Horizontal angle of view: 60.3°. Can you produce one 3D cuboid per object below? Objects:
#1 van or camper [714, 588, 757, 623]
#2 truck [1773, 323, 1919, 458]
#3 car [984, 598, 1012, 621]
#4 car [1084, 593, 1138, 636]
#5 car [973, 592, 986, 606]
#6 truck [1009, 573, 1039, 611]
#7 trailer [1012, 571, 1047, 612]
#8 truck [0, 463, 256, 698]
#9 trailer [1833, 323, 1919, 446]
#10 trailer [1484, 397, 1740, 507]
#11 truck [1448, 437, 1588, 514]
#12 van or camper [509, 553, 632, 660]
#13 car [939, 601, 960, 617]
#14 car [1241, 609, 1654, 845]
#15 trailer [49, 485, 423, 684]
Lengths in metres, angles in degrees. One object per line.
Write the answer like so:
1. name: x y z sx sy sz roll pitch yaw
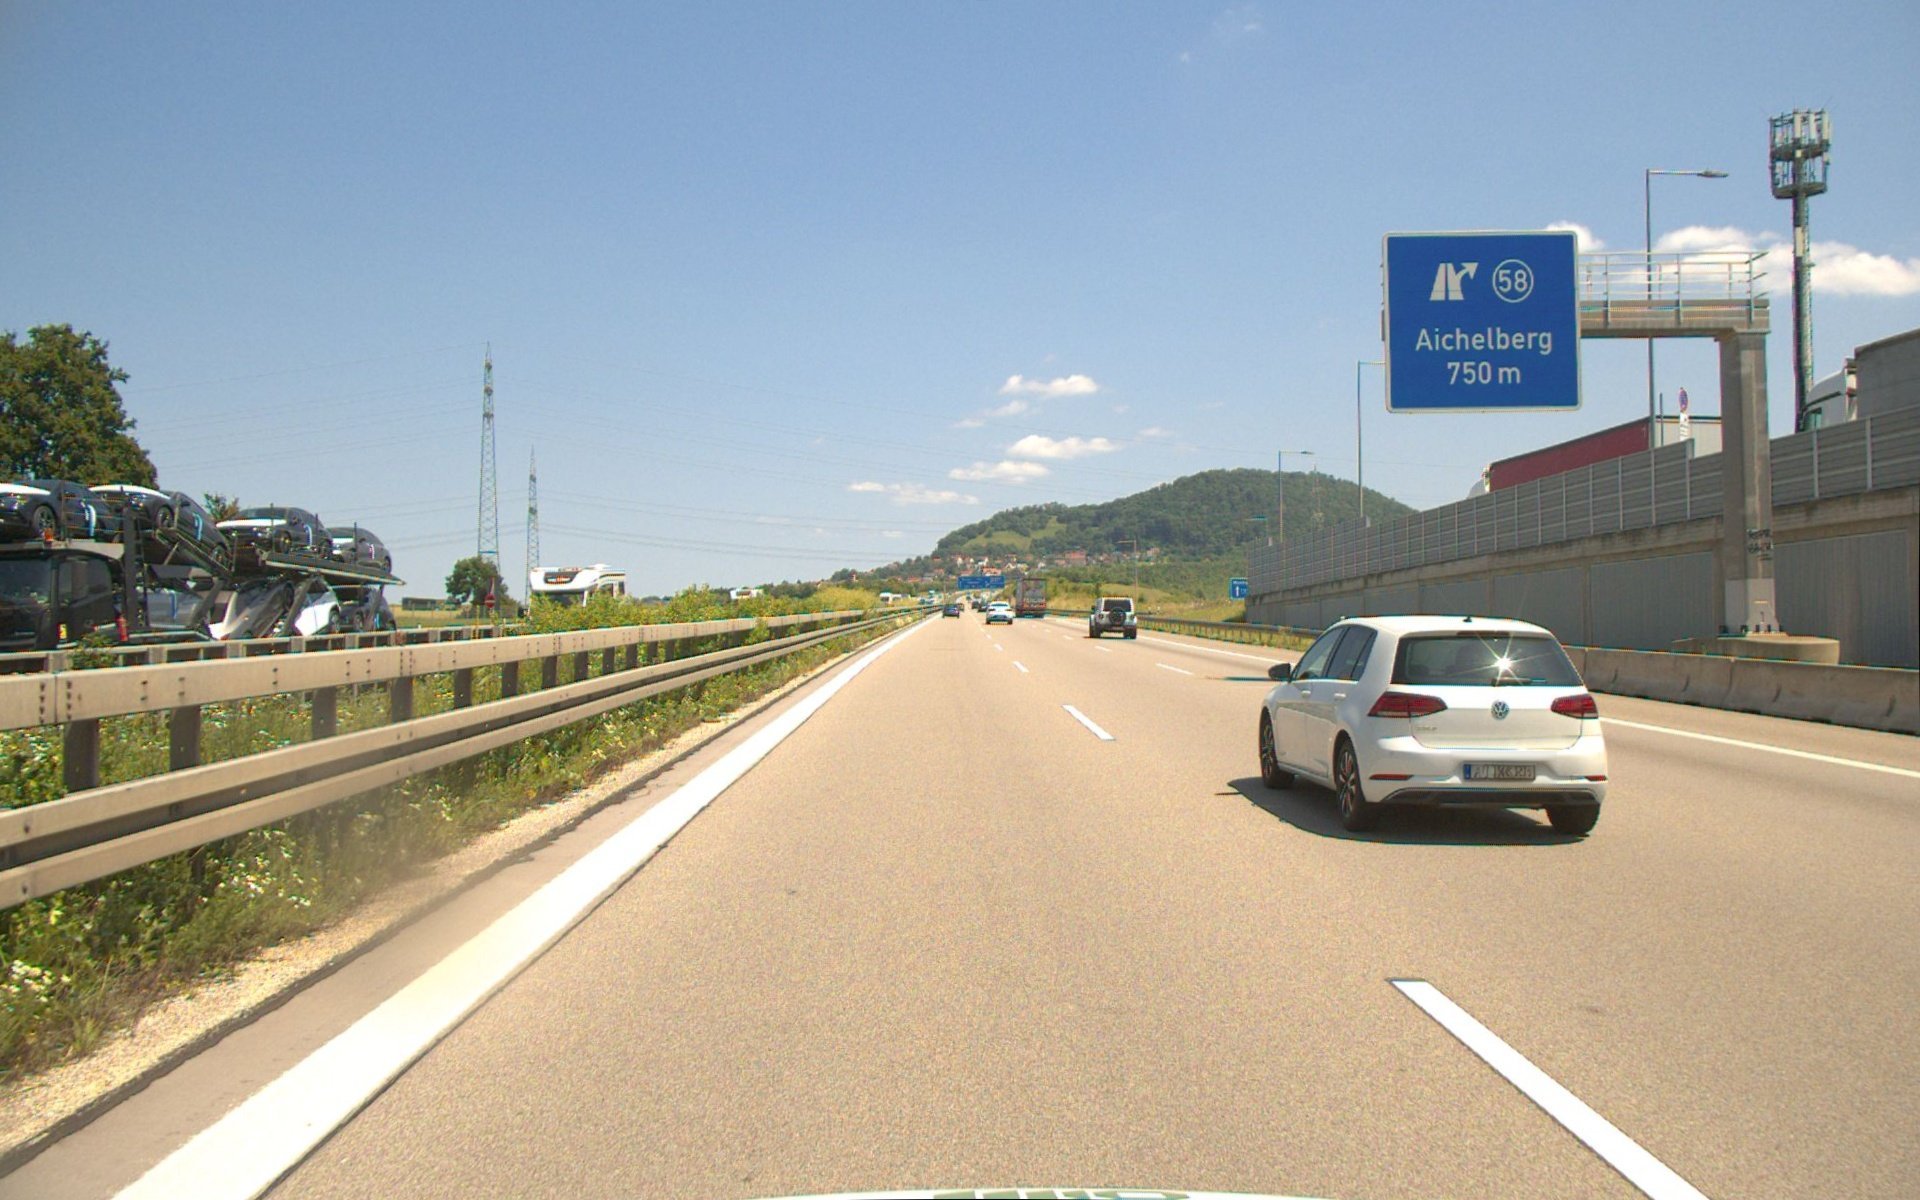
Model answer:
1. van or camper: -17.433 0.484 128.725 2.484 2.580 6.707 0 -1 -1
2. truck: 21.935 -4.782 38.721 2.668 2.269 6.034 1 -1 -2
3. car: 2.731 0.681 119.642 1.875 1.608 5.230 1 -1 0
4. car: 6.942 0.636 76.319 1.993 1.836 4.250 -1 0 -1
5. car: 2.974 -0.099 256.520 1.952 2.049 4.000 1 -1 1
6. truck: 7.094 -0.808 183.887 2.697 4.091 6.785 1 -1 -2
7. trailer: 7.385 -0.845 176.910 2.670 4.228 11.802 1 -1 -2
8. truck: -16.811 -0.304 31.861 2.622 3.886 9.151 1 -1 -1
9. trailer: 22.177 -4.854 31.803 2.664 2.263 14.521 1 -1 -2
10. trailer: 21.439 -4.751 55.739 2.664 2.263 14.014 1 -1 -2
11. truck: 21.195 -4.677 63.244 2.653 2.243 7.284 1 -1 -2
12. van or camper: -13.171 0.218 56.537 2.472 3.324 7.373 -2 0 -1
13. car: -1.032 0.887 161.299 1.952 1.413 4.000 1 -1 1
14. car: 3.477 0.822 12.775 1.740 1.458 4.690 1 -1 -1
15. trailer: -16.934 -0.240 40.637 2.630 3.915 15.176 1 -1 -1
